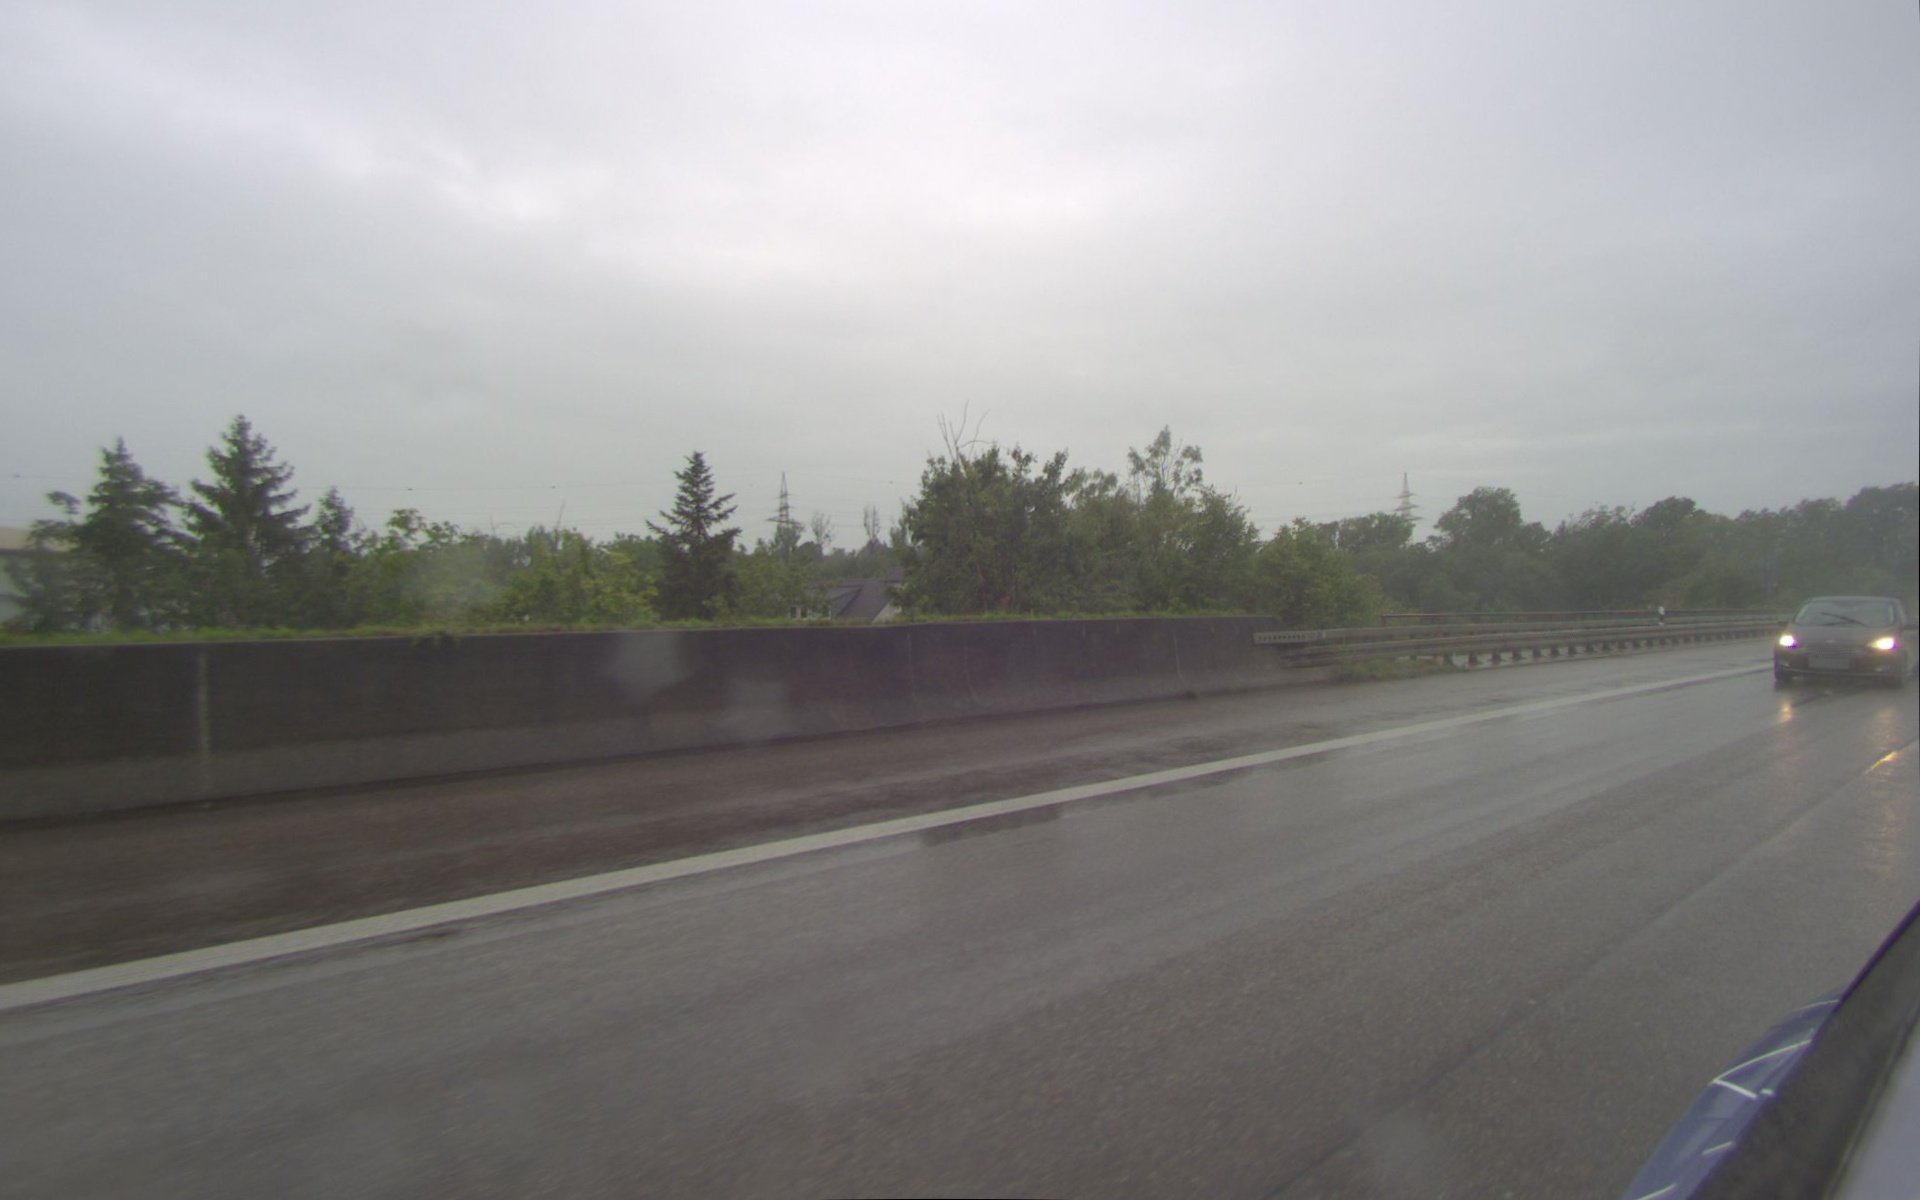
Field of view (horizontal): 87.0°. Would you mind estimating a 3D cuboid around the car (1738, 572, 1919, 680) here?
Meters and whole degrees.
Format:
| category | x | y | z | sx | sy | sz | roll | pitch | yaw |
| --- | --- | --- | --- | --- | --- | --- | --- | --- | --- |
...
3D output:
| category | x | y | z | sx | sy | sz | roll | pitch | yaw |
| --- | --- | --- | --- | --- | --- | --- | --- | --- | --- |
| car | 17.140 | 0.419 | 19.465 | 5.620 | 1.768 | 2.461 | 0 | 0 | -42 |
